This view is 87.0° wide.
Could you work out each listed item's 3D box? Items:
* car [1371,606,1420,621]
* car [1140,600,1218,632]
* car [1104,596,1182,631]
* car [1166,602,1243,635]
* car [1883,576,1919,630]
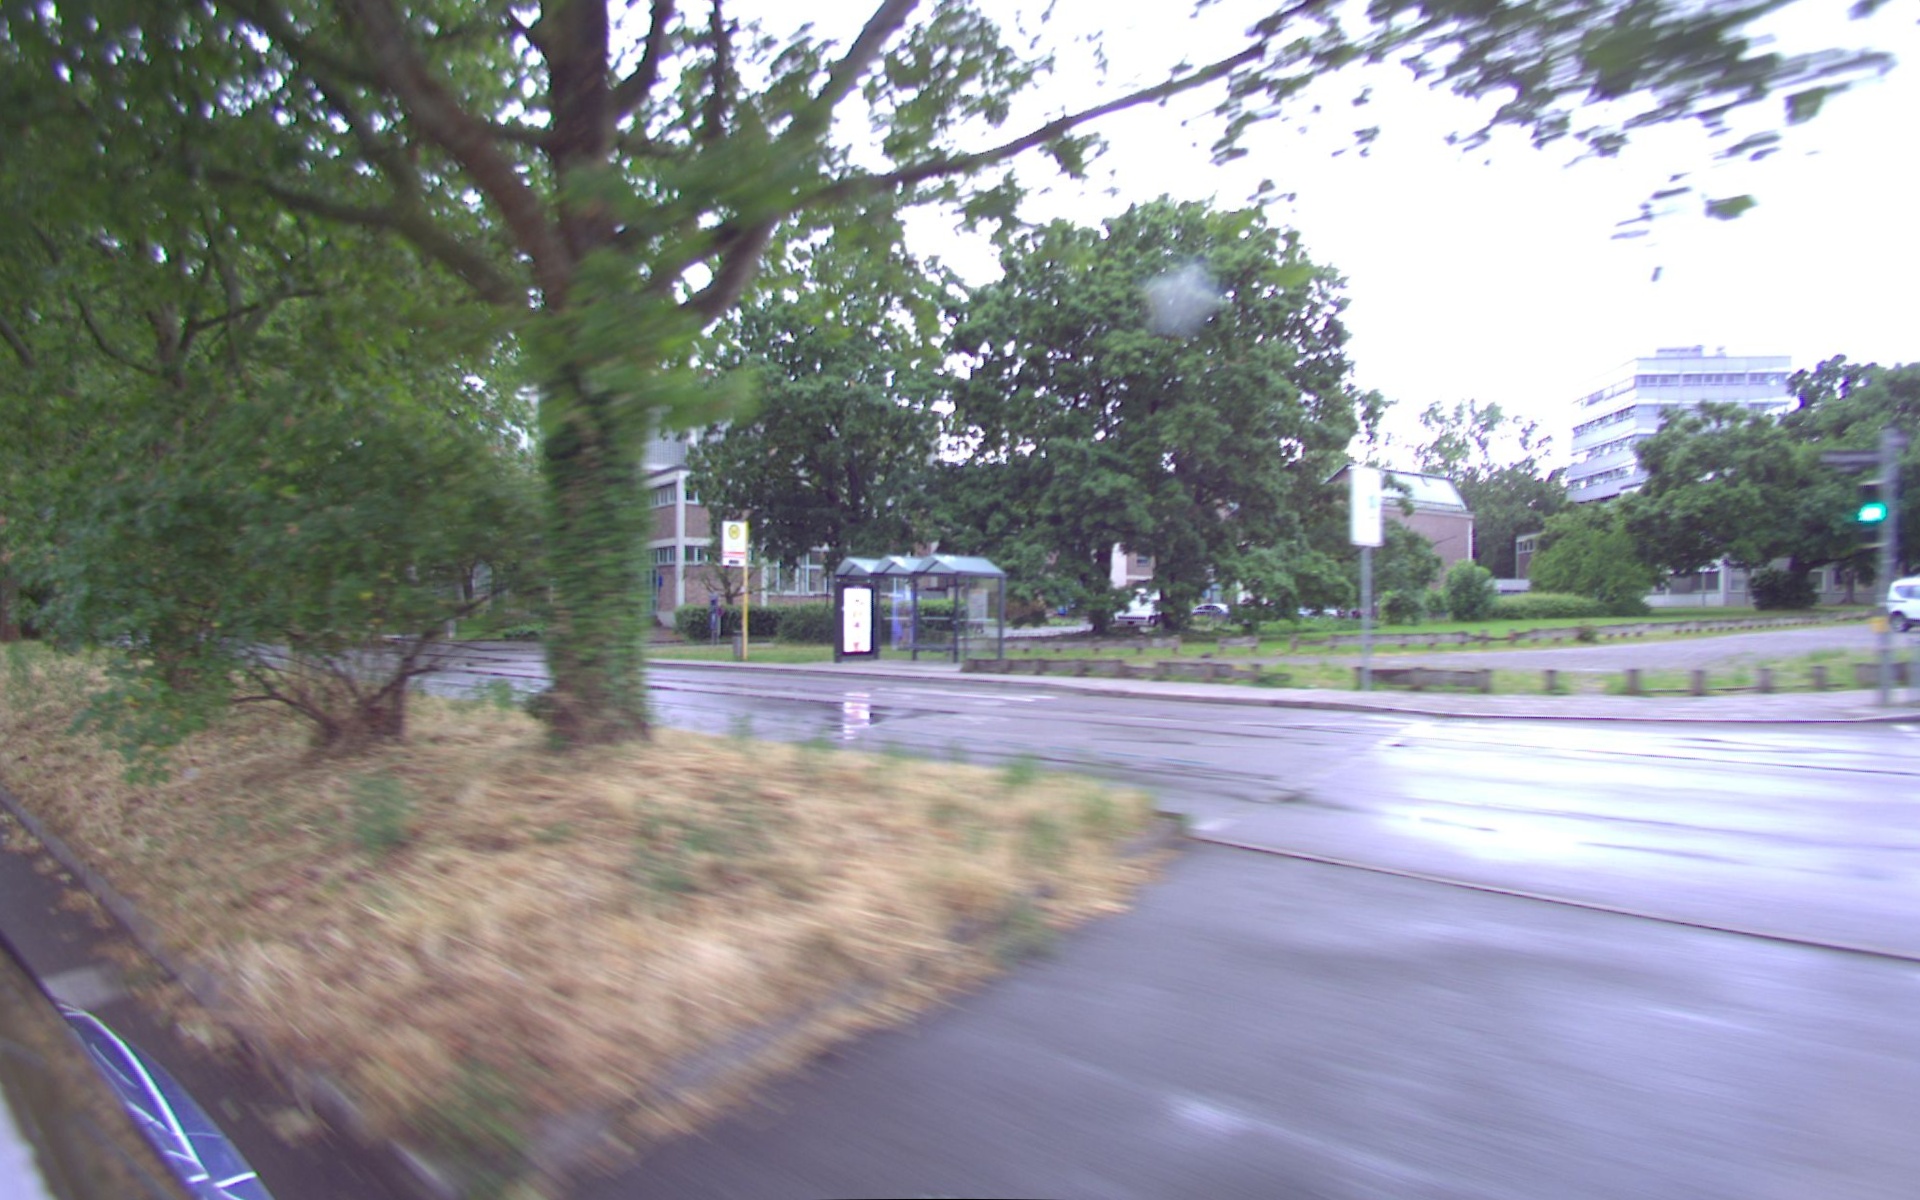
[{"bbox_3d":[37.525,1.160,87.284,1.566,1.151,3.564,-1,2,-36],"label":"car"},{"bbox_3d":[15.166,1.072,70.217,2.251,2.037,5.091,-1,1,-36],"label":"car"},{"bbox_3d":[12.313,0.842,68.446,2.251,2.195,5.091,-1,1,-36],"label":"car"},{"bbox_3d":[17.233,1.259,71.663,2.250,2.090,5.092,-1,1,-35],"label":"car"},{"bbox_3d":[32.461,0.090,32.437,1.810,1.781,4.500,0,-1,4],"label":"car"}]
